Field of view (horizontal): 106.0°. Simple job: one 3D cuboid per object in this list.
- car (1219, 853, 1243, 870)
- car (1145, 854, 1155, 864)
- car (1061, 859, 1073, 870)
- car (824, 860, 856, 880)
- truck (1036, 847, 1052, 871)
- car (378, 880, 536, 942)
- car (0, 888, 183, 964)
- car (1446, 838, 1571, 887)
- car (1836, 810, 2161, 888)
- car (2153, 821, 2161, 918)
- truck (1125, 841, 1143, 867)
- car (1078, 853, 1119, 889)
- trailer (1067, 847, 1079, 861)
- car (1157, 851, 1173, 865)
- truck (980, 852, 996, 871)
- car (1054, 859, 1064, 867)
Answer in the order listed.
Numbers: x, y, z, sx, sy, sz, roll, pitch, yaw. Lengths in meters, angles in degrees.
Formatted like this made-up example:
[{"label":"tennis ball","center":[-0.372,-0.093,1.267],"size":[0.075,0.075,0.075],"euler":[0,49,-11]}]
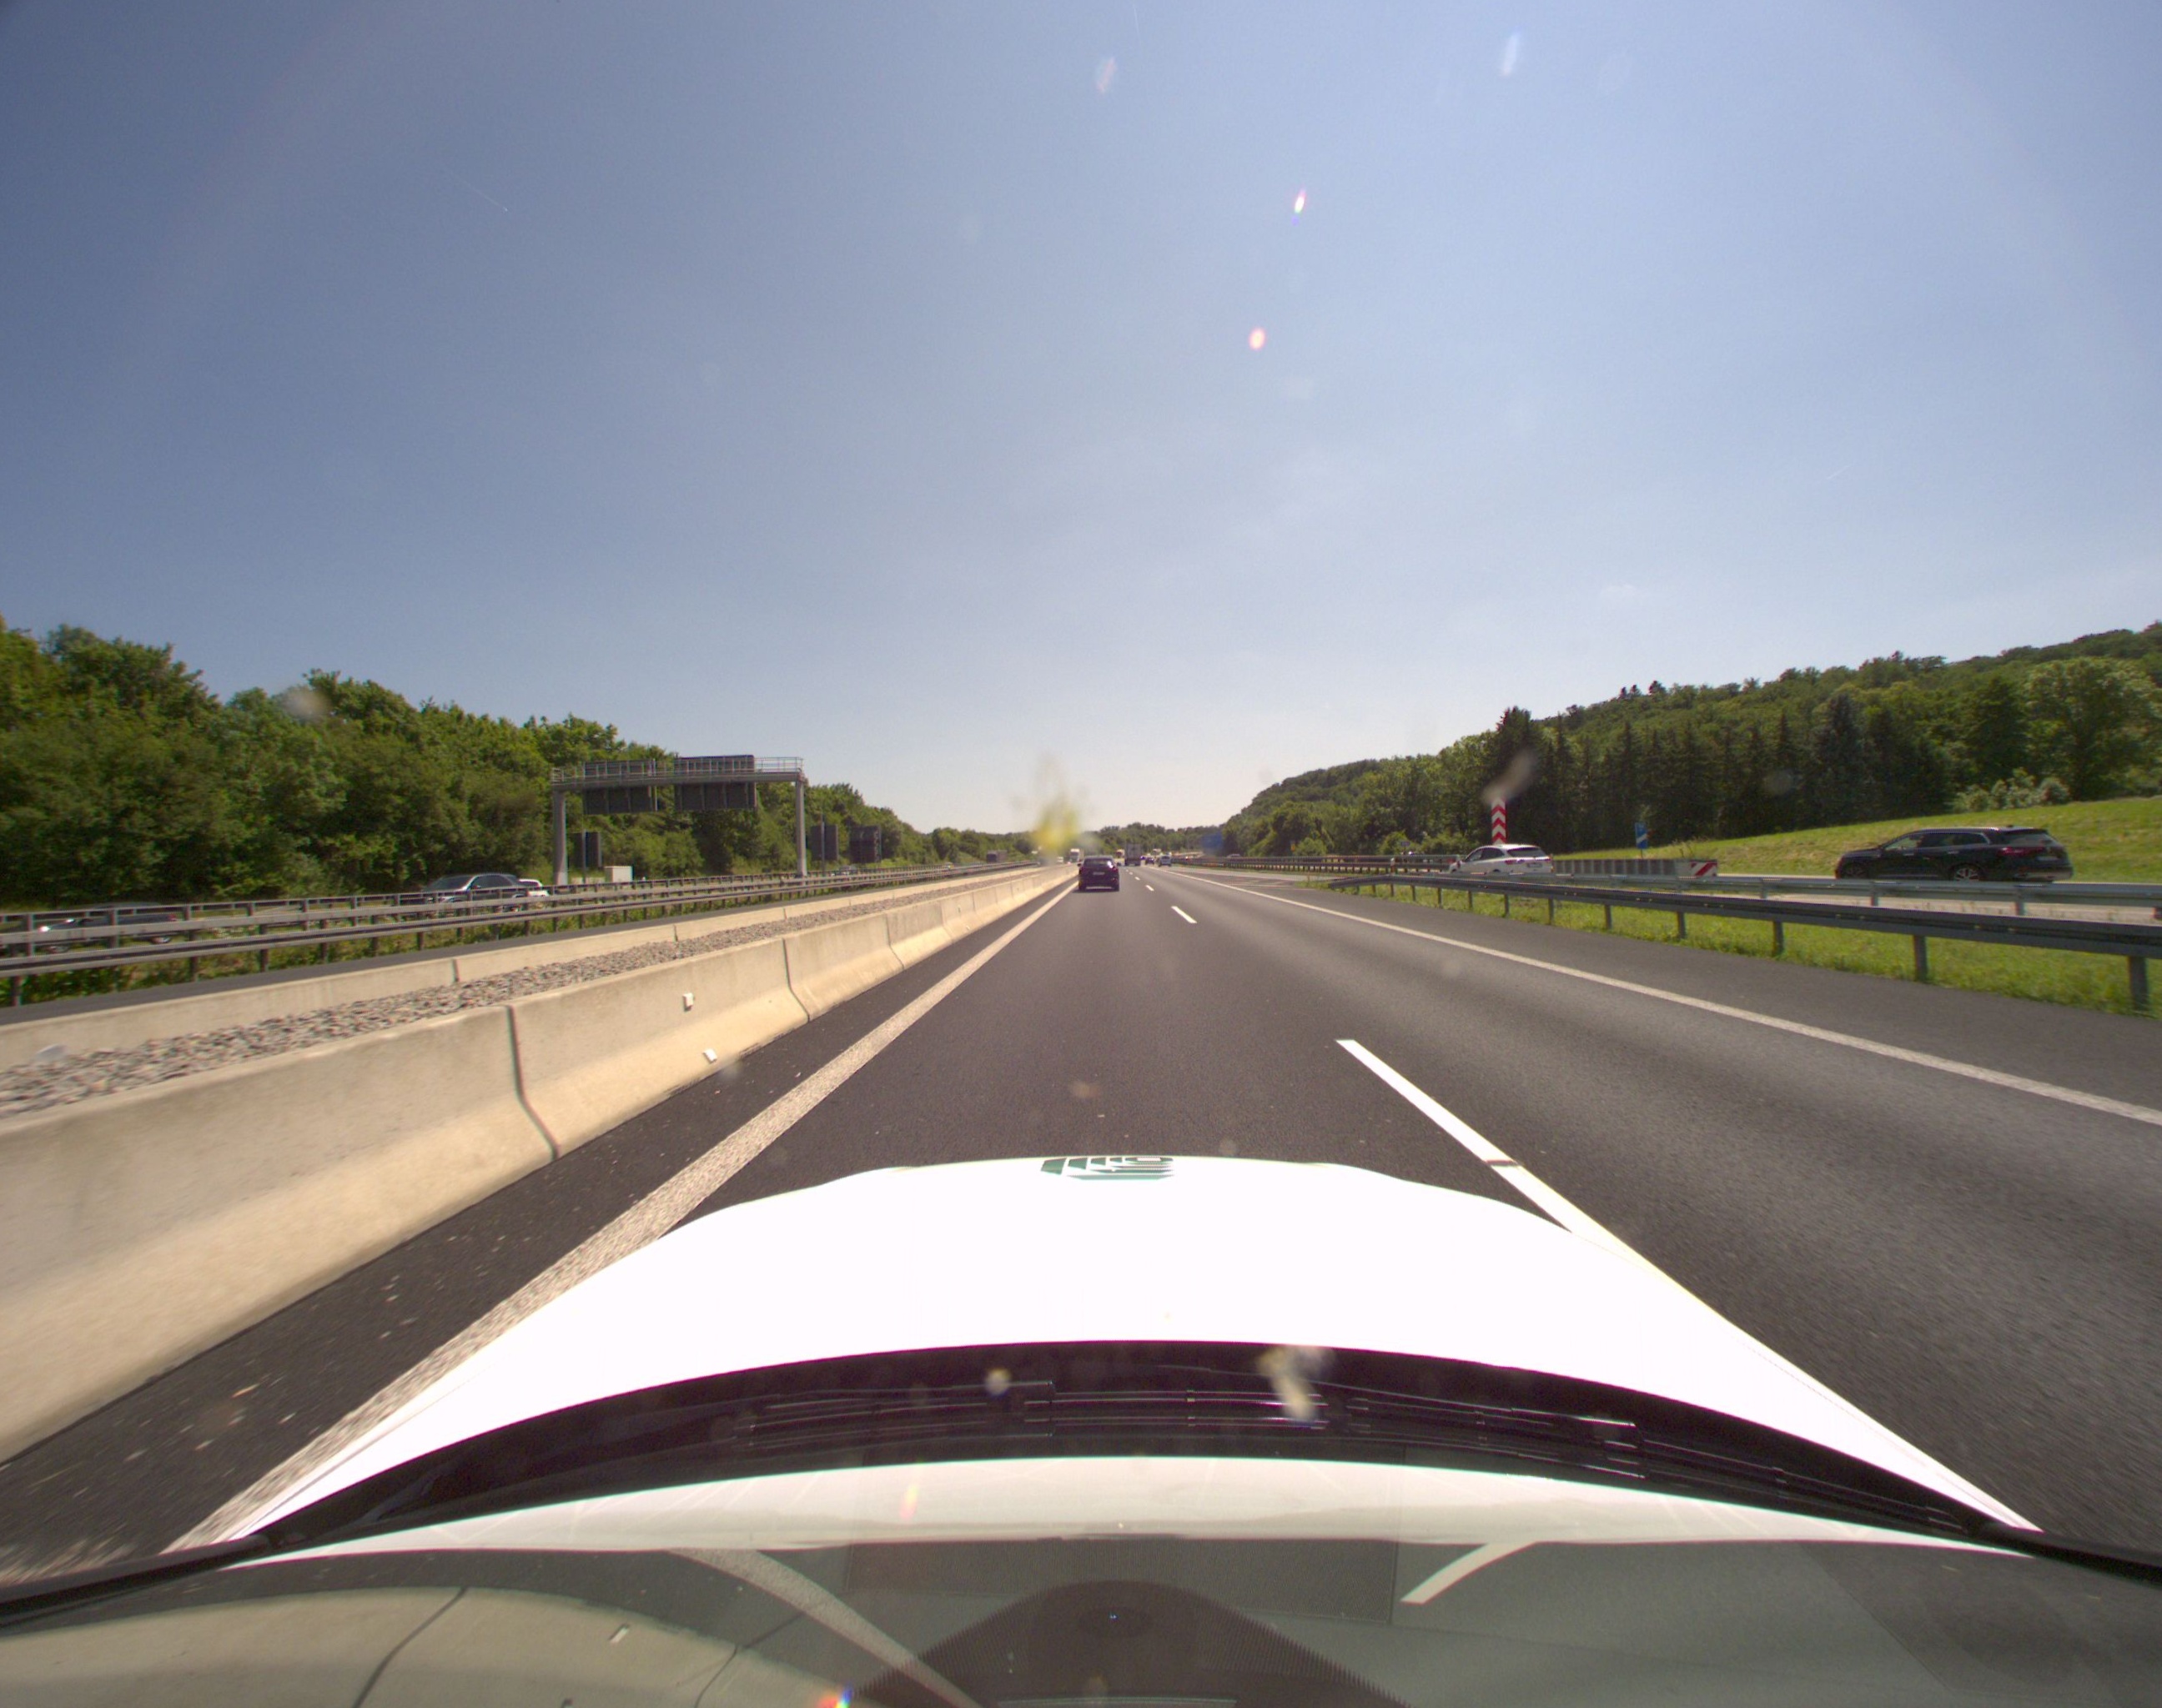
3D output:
[{"label":"car","center":[19.645,1.022,106.668],"size":[1.990,2.013,3.993],"euler":[-3,0,-5]},{"label":"car","center":[14.465,1.015,171.197],"size":[1.986,2.014,4.002],"euler":[0,-1,2]},{"label":"car","center":[-2.699,1.983,160.578],"size":[1.911,2.014,5.349],"euler":[-2,0,2]},{"label":"car","center":[-24.940,1.599,84.311],"size":[1.986,2.014,4.001],"euler":[0,-1,1]},{"label":"truck","center":[-6.995,0.952,153.352],"size":[2.696,4.288,4.554],"euler":[0,-1,1]},{"label":"car","center":[-22.906,2.011,30.210],"size":[1.938,2.014,4.769],"euler":[0,-1,4]},{"label":"car","center":[-30.793,2.105,24.947],"size":[1.938,2.014,4.025],"euler":[0,-1,4]},{"label":"car","center":[15.582,0.318,29.998],"size":[1.990,1.662,4.460],"euler":[0,-1,-5]},{"label":"car","center":[22.658,-0.077,20.395],"size":[1.990,1.662,5.616],"euler":[0,-1,-5]},{"label":"car","center":[17.010,0.206,10.226],"size":[1.791,1.435,3.959],"euler":[0,-1,-5]},{"label":"truck","center":[9.525,0.044,144.717],"size":[3.018,4.418,12.033],"euler":[0,-1,5]},{"label":"car","center":[0.762,0.756,37.228],"size":[1.774,1.577,3.998],"euler":[0,-1,-1]},{"label":"trailer","center":[-2.275,0.022,243.646],"size":[2.898,4.045,12.070],"euler":[0,-1,2]},{"label":"car","center":[13.075,0.623,126.783],"size":[1.987,2.013,4.000],"euler":[-3,0,0]},{"label":"truck","center":[-21.469,1.749,188.265],"size":[2.796,4.272,5.006],"euler":[0,-1,6]},{"label":"car","center":[-5.068,2.000,190.637],"size":[1.734,1.826,4.909],"euler":[0,-1,5]}]
